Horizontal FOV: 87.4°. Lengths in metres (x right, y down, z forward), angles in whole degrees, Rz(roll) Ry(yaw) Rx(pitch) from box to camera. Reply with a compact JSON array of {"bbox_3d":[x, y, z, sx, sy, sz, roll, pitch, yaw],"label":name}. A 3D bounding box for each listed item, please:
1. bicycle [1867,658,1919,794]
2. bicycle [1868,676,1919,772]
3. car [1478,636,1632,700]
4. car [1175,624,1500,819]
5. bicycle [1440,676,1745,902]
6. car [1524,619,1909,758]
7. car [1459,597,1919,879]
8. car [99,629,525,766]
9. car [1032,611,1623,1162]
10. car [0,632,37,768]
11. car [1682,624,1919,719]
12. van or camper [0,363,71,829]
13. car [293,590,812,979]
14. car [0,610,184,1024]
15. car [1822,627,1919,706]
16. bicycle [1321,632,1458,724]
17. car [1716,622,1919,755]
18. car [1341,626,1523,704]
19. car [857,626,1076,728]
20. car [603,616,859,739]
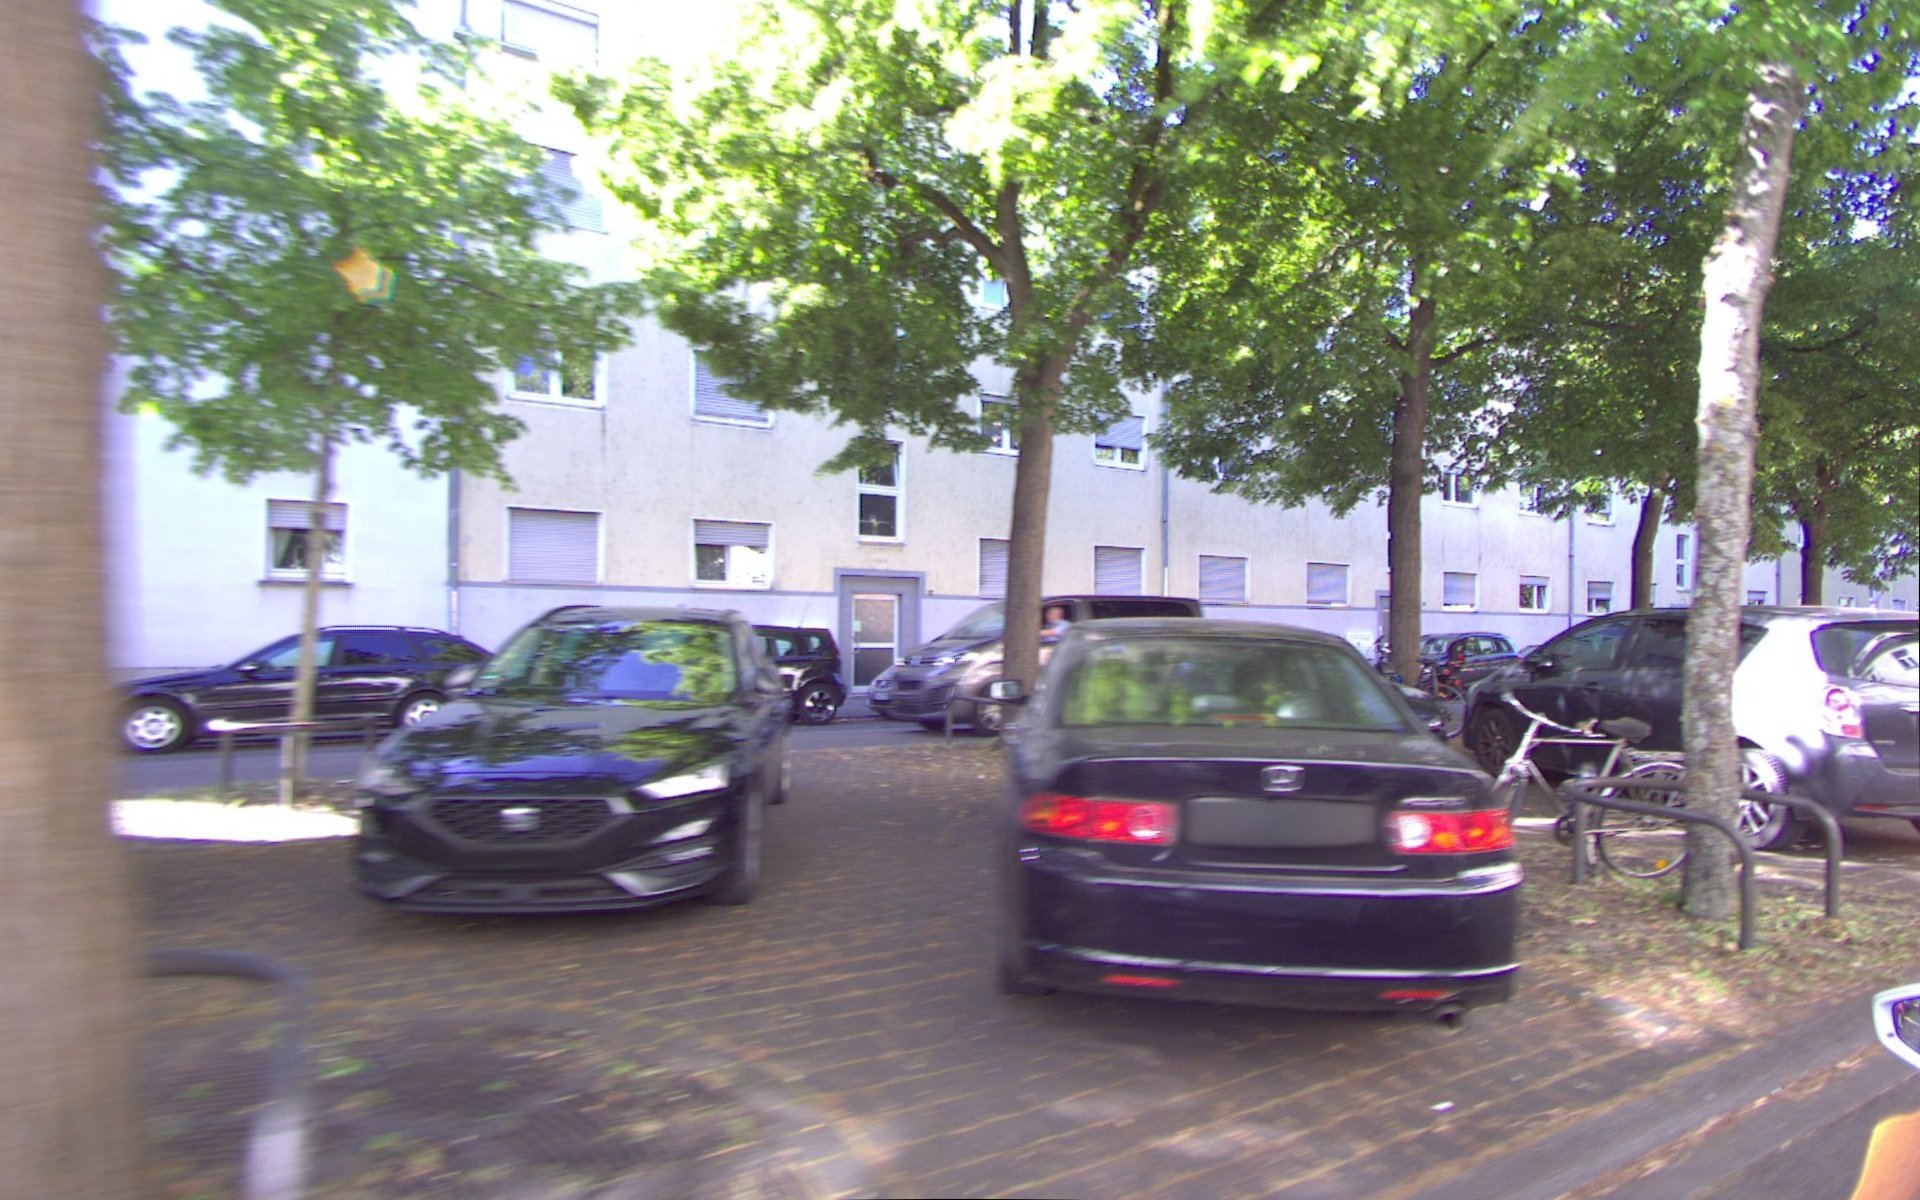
[{"bbox_3d":[8.750,1.128,8.520,0.372,1.174,1.688,1,0,-10],"label":"bicycle"},{"bbox_3d":[9.966,1.276,9.732,0.372,0.931,1.901,1,0,-10],"label":"bicycle"},{"bbox_3d":[16.030,1.788,27.008,4.114,1.586,1.882,1,-3,-32],"label":"car"},{"bbox_3d":[3.298,0.964,9.696,1.781,1.409,4.201,1,-1,4],"label":"car"},{"bbox_3d":[3.549,1.012,5.633,1.650,1.145,0.428,1,-1,-14],"label":"bicycle"},{"bbox_3d":[9.400,1.012,12.996,1.835,1.492,4.116,1,-1,-1],"label":"car"},{"bbox_3d":[6.021,0.853,8.077,1.827,1.675,4.088,1,0,-3],"label":"car"},{"bbox_3d":[-7.923,1.111,12.693,4.257,1.418,1.635,1,1,-32],"label":"car"},{"bbox_3d":[1.194,0.859,4.819,1.593,1.493,4.023,0,-2,5],"label":"car"},{"bbox_3d":[-12.251,1.068,10.130,4.037,1.454,1.740,1,-3,-33],"label":"car"},{"bbox_3d":[14.924,1.164,17.672,1.761,1.454,4.002,1,-1,4],"label":"car"},{"bbox_3d":[-7.043,-0.062,3.466,2.360,2.862,6.306,1,0,-1],"label":"van or camper"},{"bbox_3d":[-1.883,0.764,5.982,1.796,1.505,3.996,1,-1,-6],"label":"car"},{"bbox_3d":[-4.241,0.709,2.213,1.681,1.444,4.159,1,-1,2],"label":"car"},{"bbox_3d":[20.124,1.337,20.451,1.809,1.576,3.917,0,-2,1],"label":"car"},{"bbox_3d":[5.927,1.077,13.883,1.767,1.216,0.356,1,0,-6],"label":"bicycle"},{"bbox_3d":[12.042,1.073,12.505,1.726,1.506,4.628,1,0,-1],"label":"car"},{"bbox_3d":[11.406,1.541,24.229,4.327,1.741,1.837,1,-4,-31],"label":"car"},{"bbox_3d":[0.139,1.278,17.501,3.540,1.596,1.608,1,-3,-32],"label":"car"},{"bbox_3d":[-3.483,1.137,15.434,3.561,1.698,1.467,1,-4,-32],"label":"car"}]
